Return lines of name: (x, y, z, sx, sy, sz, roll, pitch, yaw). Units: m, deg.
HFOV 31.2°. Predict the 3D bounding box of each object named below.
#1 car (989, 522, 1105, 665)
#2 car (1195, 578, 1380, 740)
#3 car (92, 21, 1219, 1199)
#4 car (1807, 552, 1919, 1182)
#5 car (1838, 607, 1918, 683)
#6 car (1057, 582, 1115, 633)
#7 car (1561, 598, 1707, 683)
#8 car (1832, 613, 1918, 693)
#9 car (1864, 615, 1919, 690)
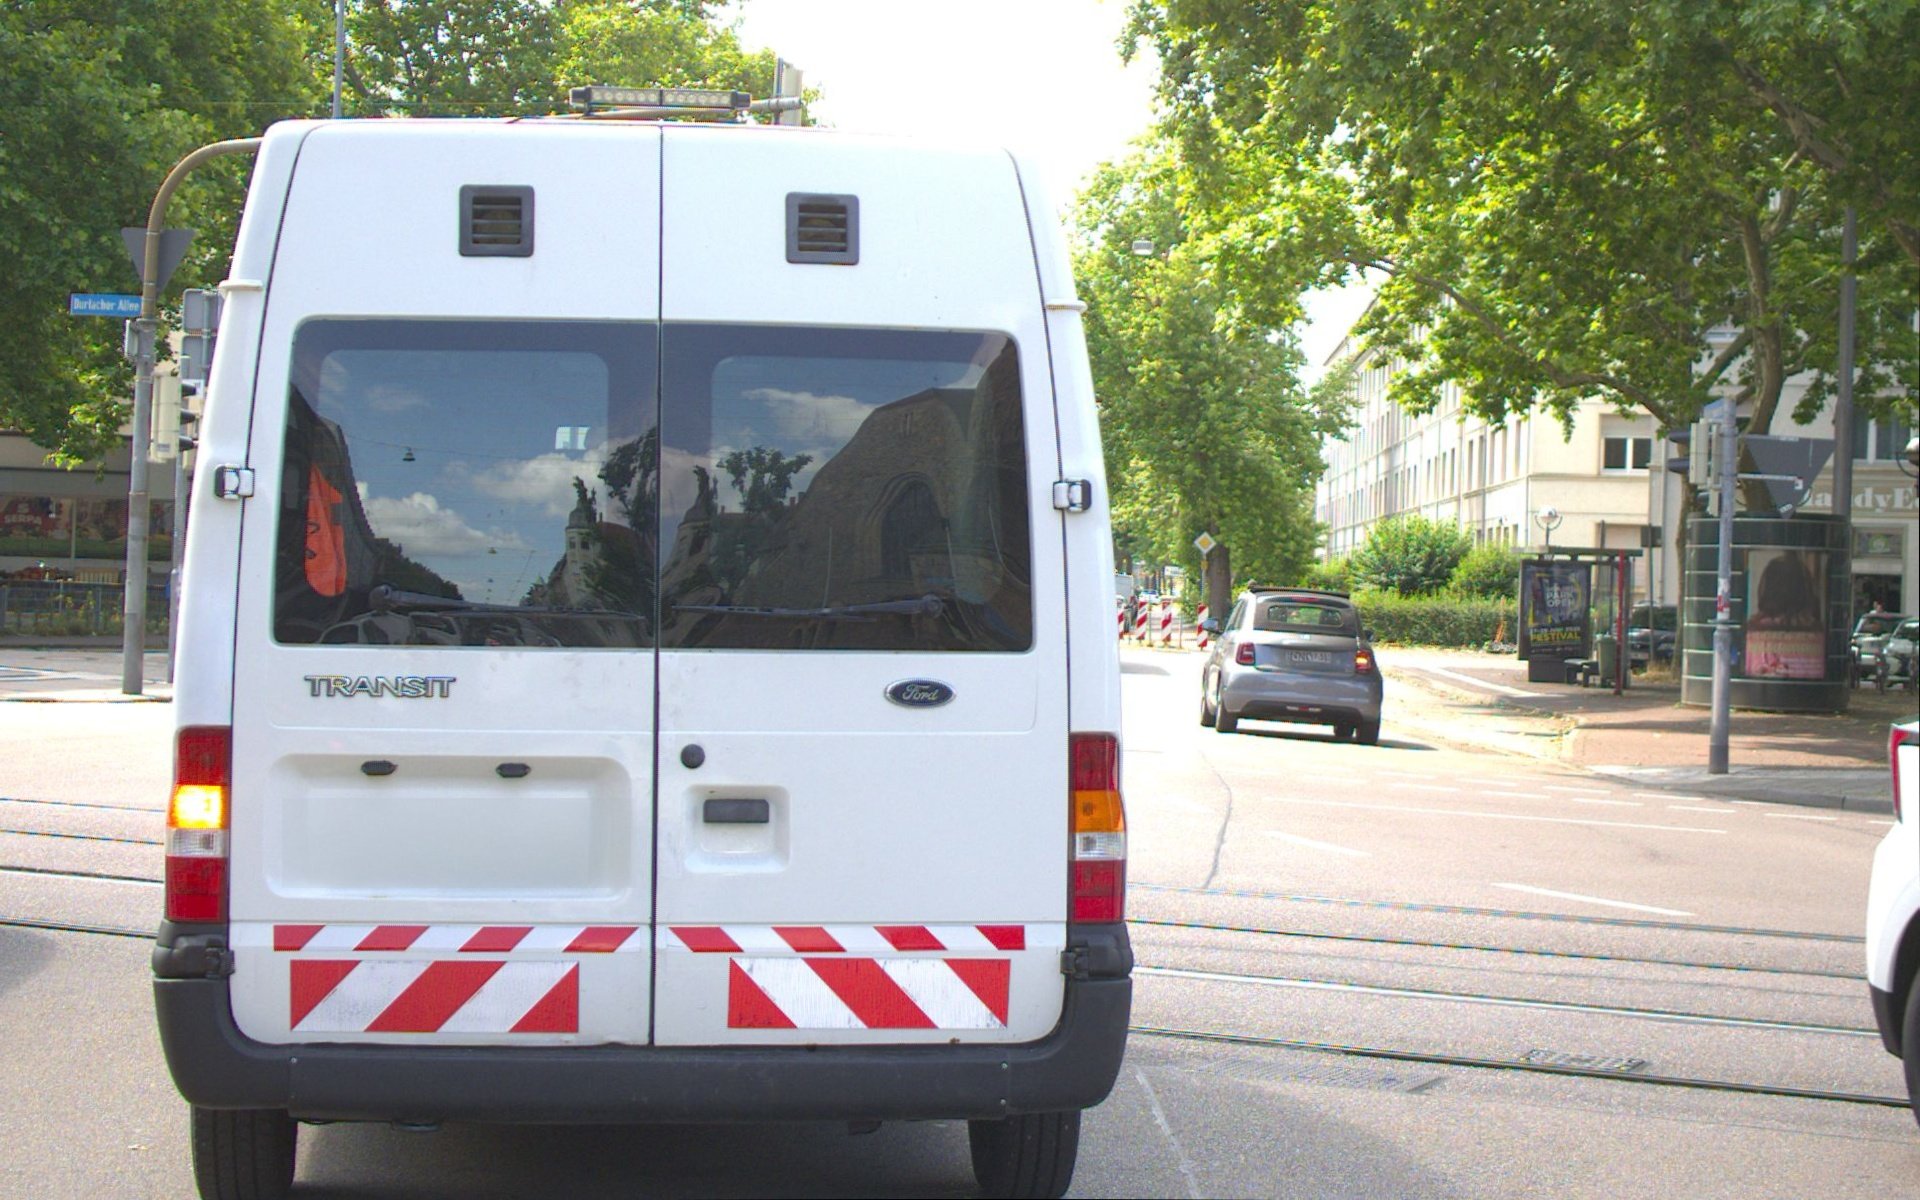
car: (1.741, -0.165, 68.389, 2.119, 2.632, 6.328, 2, 1, 2)
car: (3.424, 0.583, 36.434, 1.692, 1.532, 3.468, 2, 1, 2)
car: (-0.804, 0.070, 8.815, 2.047, 2.325, 4.715, 2, 1, -6)
car: (3.740, 0.701, 7.027, 1.814, 1.501, 4.132, 2, 1, -21)
car: (21.007, 1.023, 78.616, 1.467, 1.660, 3.064, 2, 0, 20)
car: (4.032, 0.238, 110.042, 1.725, 1.549, 3.633, 2, 0, 1)
car: (13.687, 0.811, 69.626, 2.030, 1.595, 4.533, 2, 0, 22)
car: (16.947, 0.967, 63.657, 1.466, 1.384, 3.065, 2, 0, 15)
car: (18.515, 1.026, 67.202, 1.466, 1.384, 3.233, 2, 0, 17)
